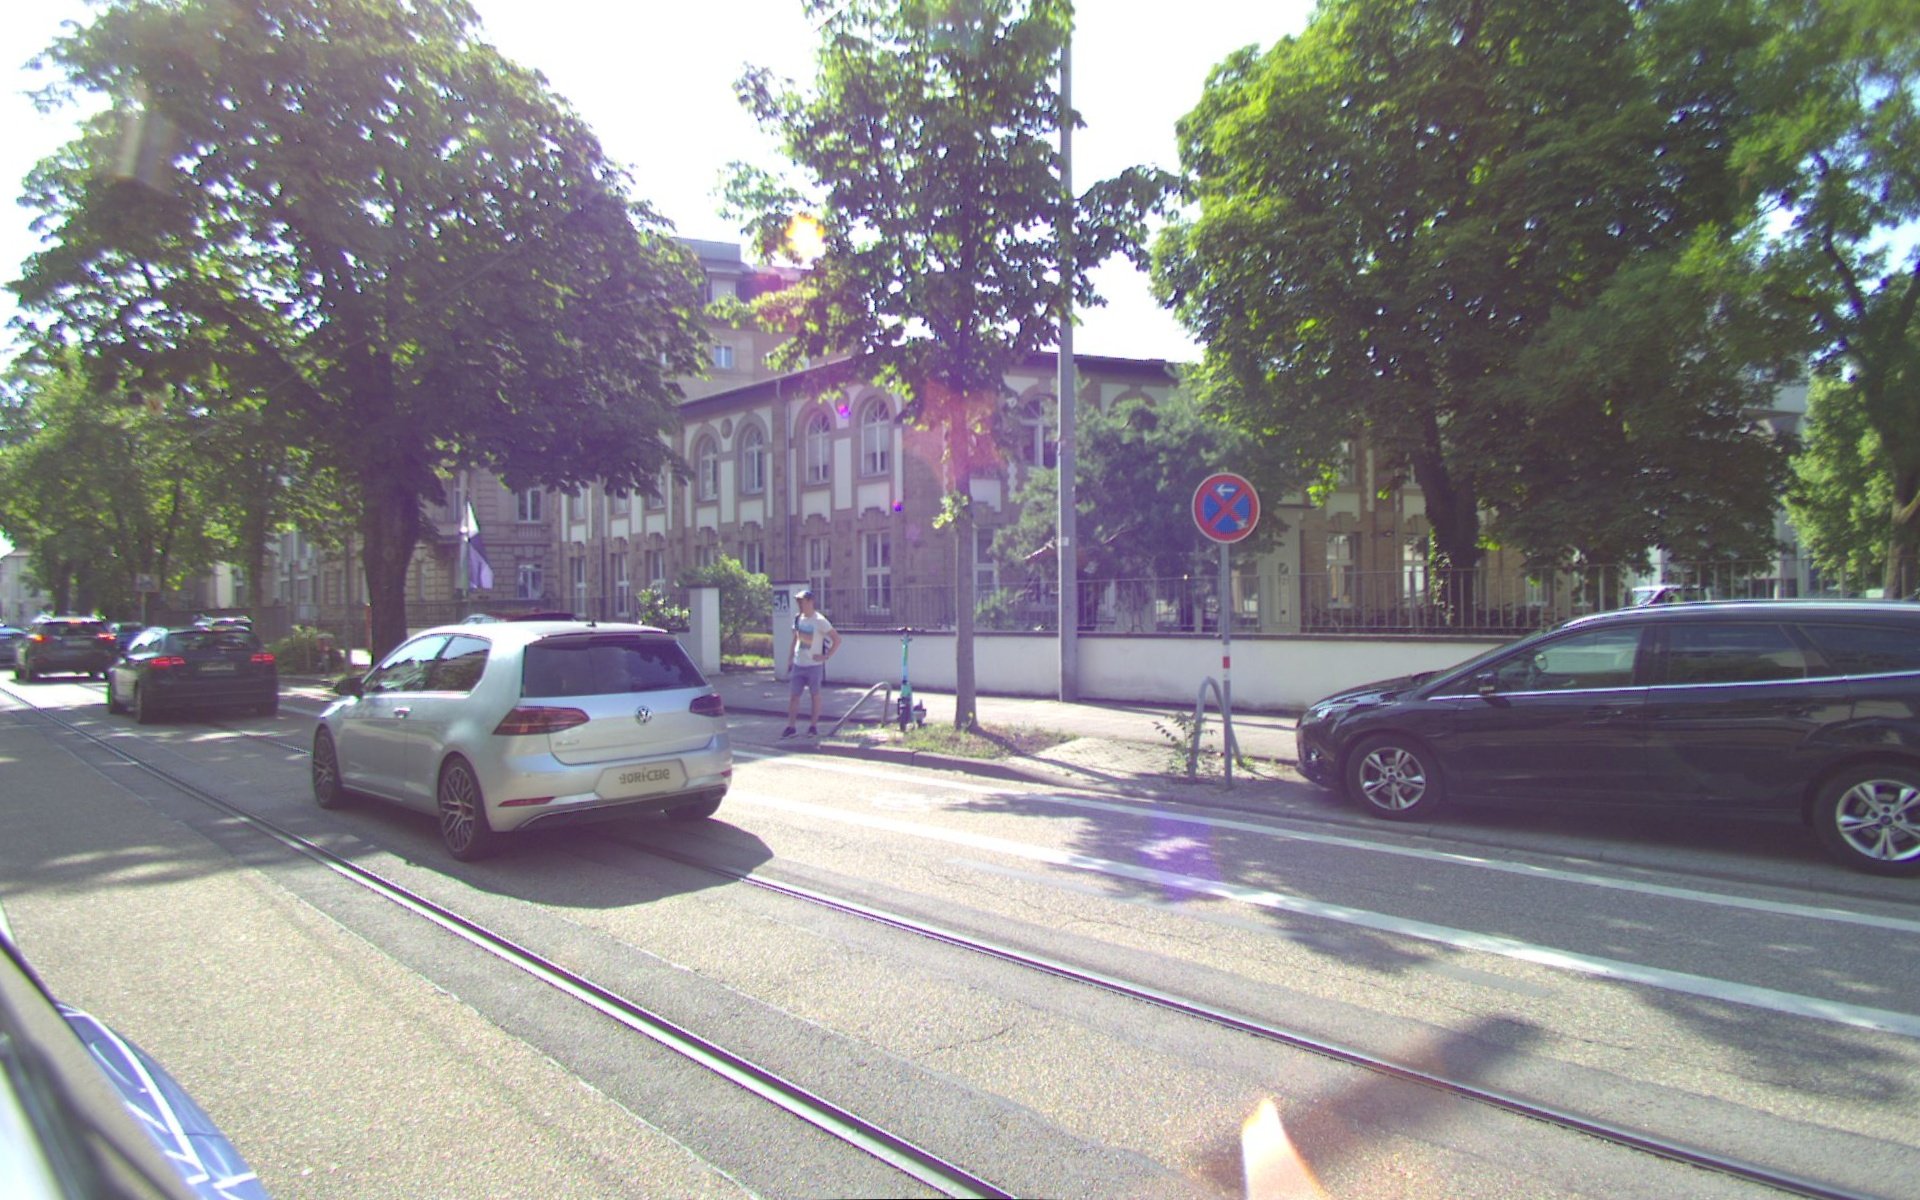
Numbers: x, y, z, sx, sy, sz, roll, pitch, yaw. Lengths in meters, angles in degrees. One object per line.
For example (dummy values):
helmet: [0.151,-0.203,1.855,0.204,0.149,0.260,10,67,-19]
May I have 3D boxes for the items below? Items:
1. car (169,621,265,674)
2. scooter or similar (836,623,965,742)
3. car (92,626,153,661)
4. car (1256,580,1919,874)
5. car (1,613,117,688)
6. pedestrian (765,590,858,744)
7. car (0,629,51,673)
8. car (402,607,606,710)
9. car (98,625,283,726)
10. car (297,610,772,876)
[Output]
car: [-25.751,1.596,35.011,4.330,1.653,1.787,-1,1,42]
scooter or similar: [-0.707,0.952,12.253,0.855,1.289,1.325,-1,1,41]
car: [-39.303,2.012,47.480,3.807,1.496,1.637,-1,1,42]
car: [4.563,0.680,6.870,4.588,1.527,1.732,-1,1,40]
car: [-23.667,1.286,26.530,4.390,1.740,1.806,-2,0,42]
pedestrian: [-1.801,0.785,12.294,0.750,1.780,0.782,-1,1,33]
car: [-31.512,1.648,33.397,4.425,1.399,1.780,-2,-3,42]
car: [-8.743,1.022,19.195,4.719,1.678,1.732,-1,1,42]
car: [-12.257,1.098,16.030,4.001,1.386,1.704,-1,-2,44]
car: [-3.257,0.800,7.393,3.851,1.427,1.754,-1,-1,42]
